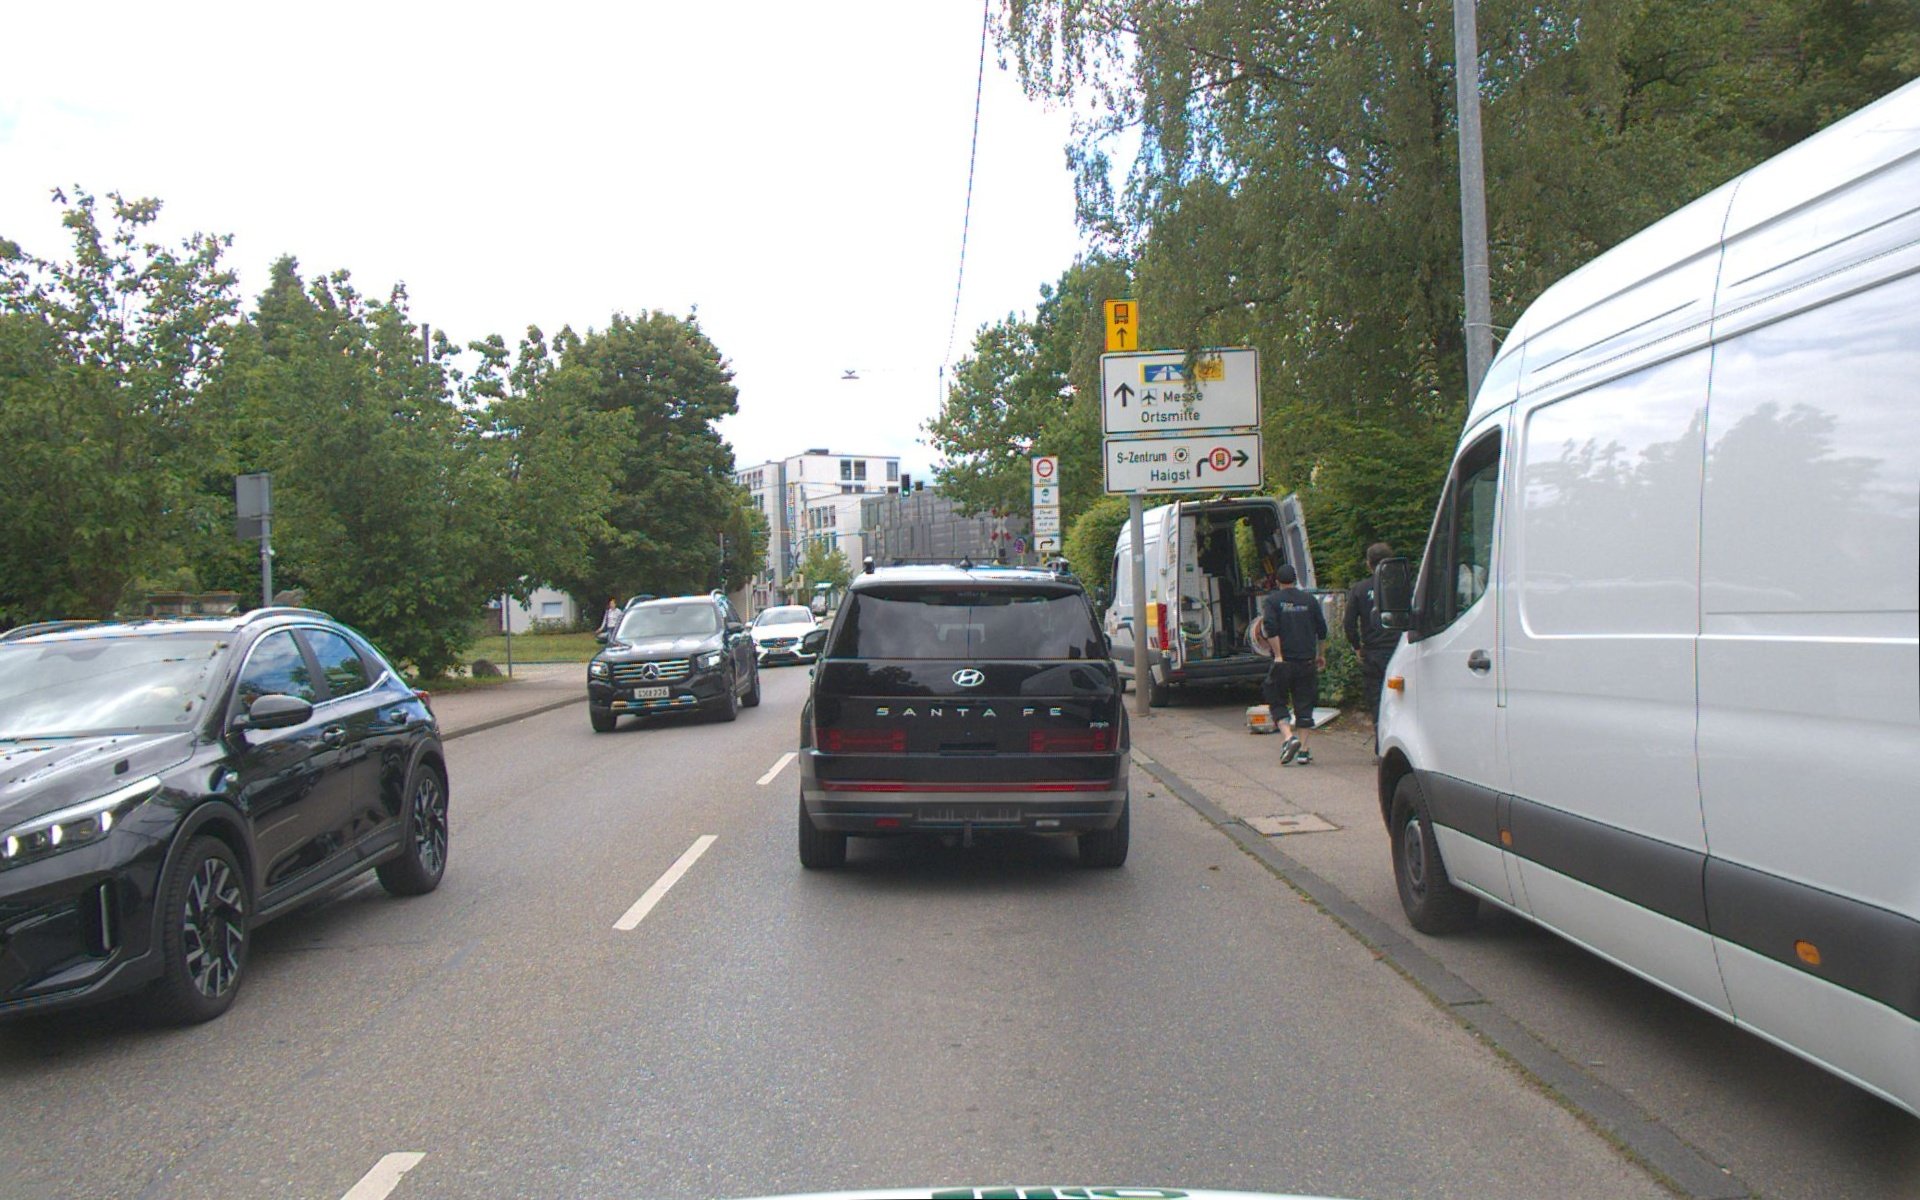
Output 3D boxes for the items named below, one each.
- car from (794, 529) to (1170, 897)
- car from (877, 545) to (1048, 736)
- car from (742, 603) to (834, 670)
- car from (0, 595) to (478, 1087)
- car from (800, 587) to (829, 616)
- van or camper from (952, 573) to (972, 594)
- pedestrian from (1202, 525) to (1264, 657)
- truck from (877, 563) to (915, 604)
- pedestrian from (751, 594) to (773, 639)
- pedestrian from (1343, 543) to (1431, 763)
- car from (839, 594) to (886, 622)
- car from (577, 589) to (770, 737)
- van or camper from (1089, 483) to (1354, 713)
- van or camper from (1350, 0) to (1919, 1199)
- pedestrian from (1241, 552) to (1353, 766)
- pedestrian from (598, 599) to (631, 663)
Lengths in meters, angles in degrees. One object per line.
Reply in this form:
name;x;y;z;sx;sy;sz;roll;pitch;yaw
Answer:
car;0.089;0.580;10.325;1.858;1.807;3.993;1;0;-1
car;0.005;0.465;20.408;1.858;2.077;3.993;1;0;-1
car;-4.263;0.876;41.582;1.778;1.444;4.827;-5;0;-1
car;-3.516;0.801;7.145;1.666;1.509;3.999;-3;0;-1
car;-12.472;0.126;141.501;2.288;2.356;4.950;-2;0;-7
van or camper;0.155;-1.691;170.129;1.760;2.033;3.820;1;0;-4
pedestrian;3.583;-0.108;21.747;0.721;1.672;0.802;-3;-1;8
truck;-6.448;-1.565;165.531;3.048;3.926;9.607;-2;0;-6
pedestrian;-9.148;0.750;76.618;0.812;2.049;1.047;1;-1;2
pedestrian;3.565;0.440;13.800;0.634;1.782;0.655;-2;-1;17
car;-5.714;0.432;97.263;1.798;1.565;4.271;-1;0;10
car;-3.720;0.774;22.162;1.842;1.673;4.127;-4;0;-1
van or camper;3.366;0.027;22.932;2.293;2.537;6.600;-5;-1;-1
van or camper;2.948;0.054;4.537;1.951;2.670;6.543;-4;0;-1
pedestrian;2.883;0.494;14.197;0.734;1.751;0.792;-3;0;2
pedestrian;-9.685;0.863;46.379;0.751;1.779;0.904;0;-1;-2
